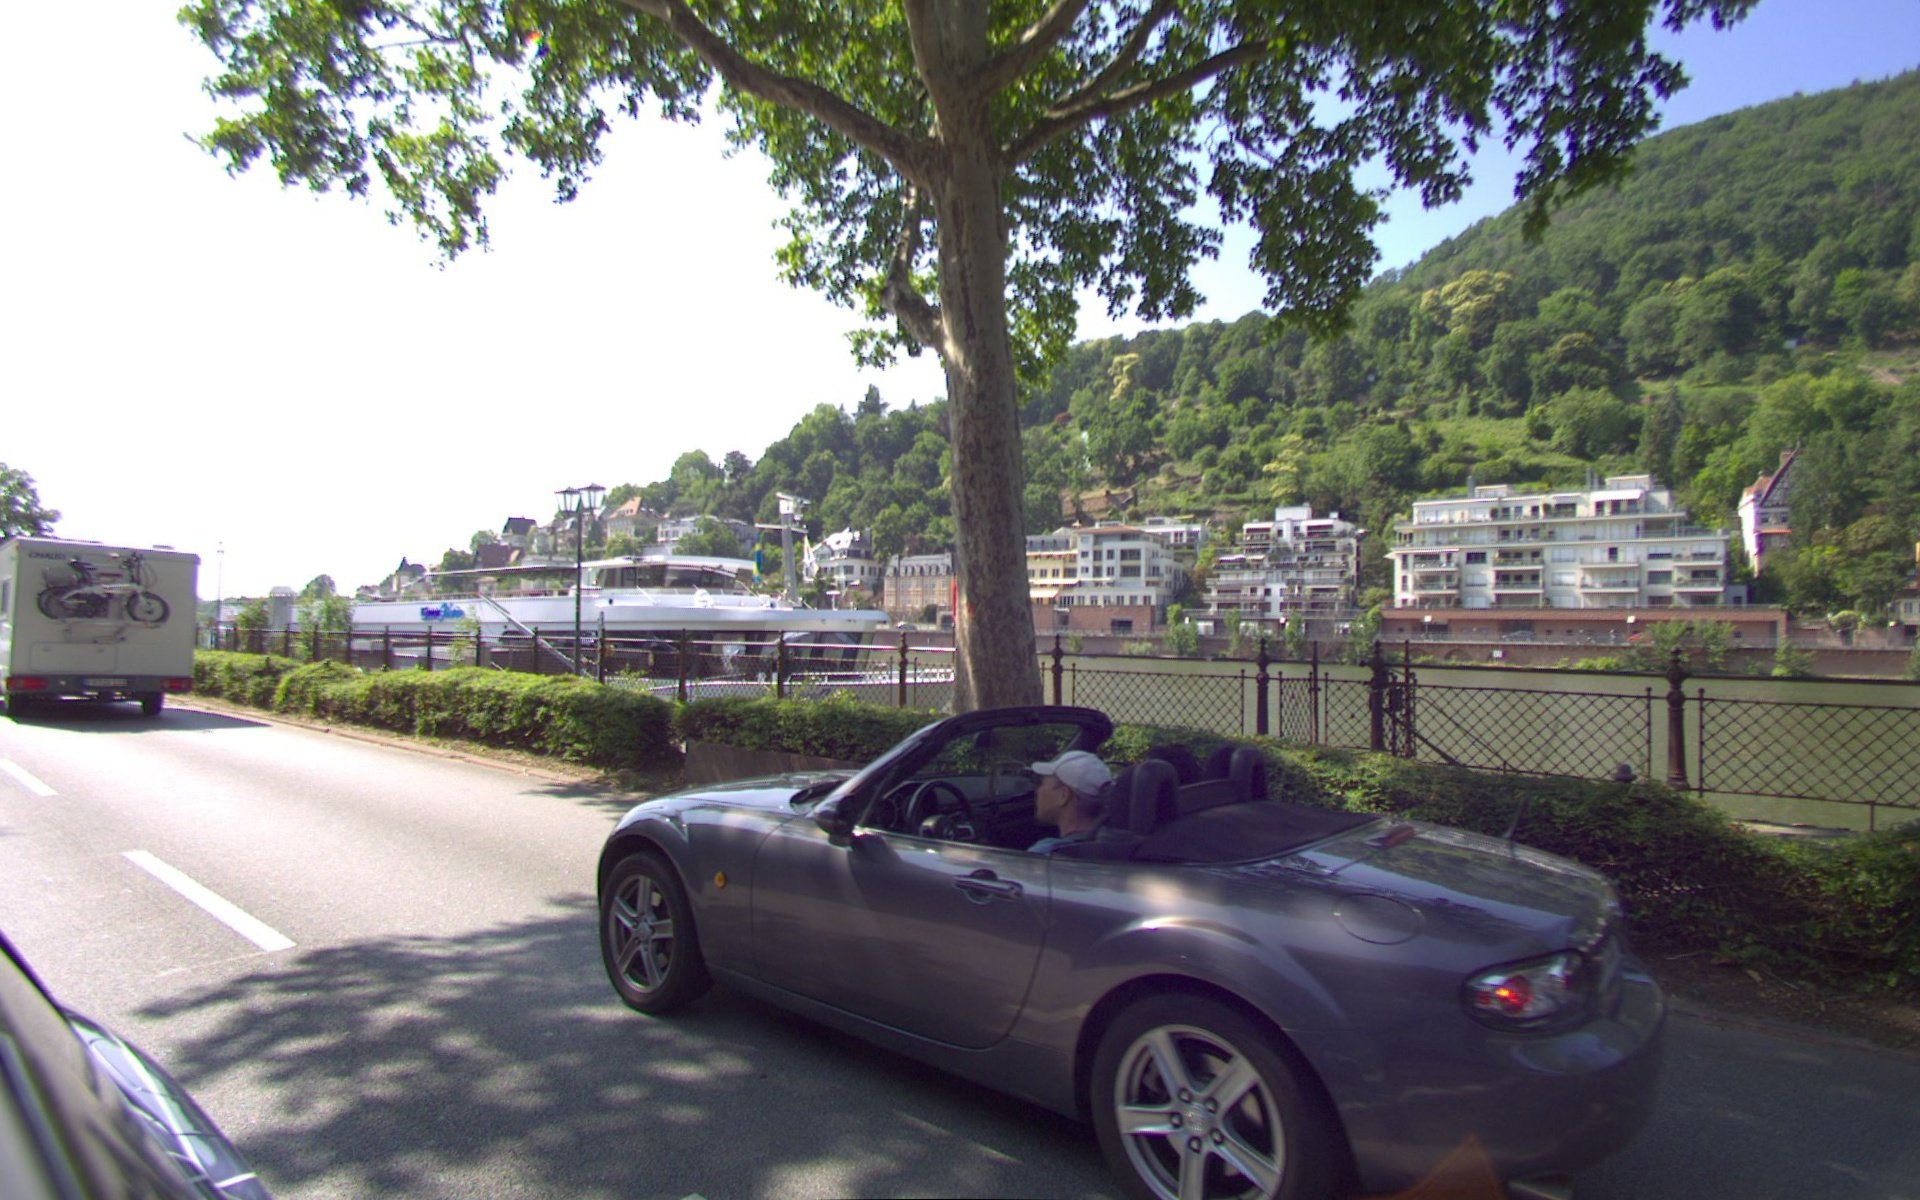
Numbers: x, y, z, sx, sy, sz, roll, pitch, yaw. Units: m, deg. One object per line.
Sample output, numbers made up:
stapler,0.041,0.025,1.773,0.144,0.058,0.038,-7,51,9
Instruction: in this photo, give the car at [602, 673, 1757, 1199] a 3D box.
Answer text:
car,0.507,0.933,3.474,3.482,1.220,1.681,-1,-4,39

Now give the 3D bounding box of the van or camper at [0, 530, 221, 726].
van or camper,-14.618,0.463,16.761,6.259,2.682,2.299,0,-4,40
